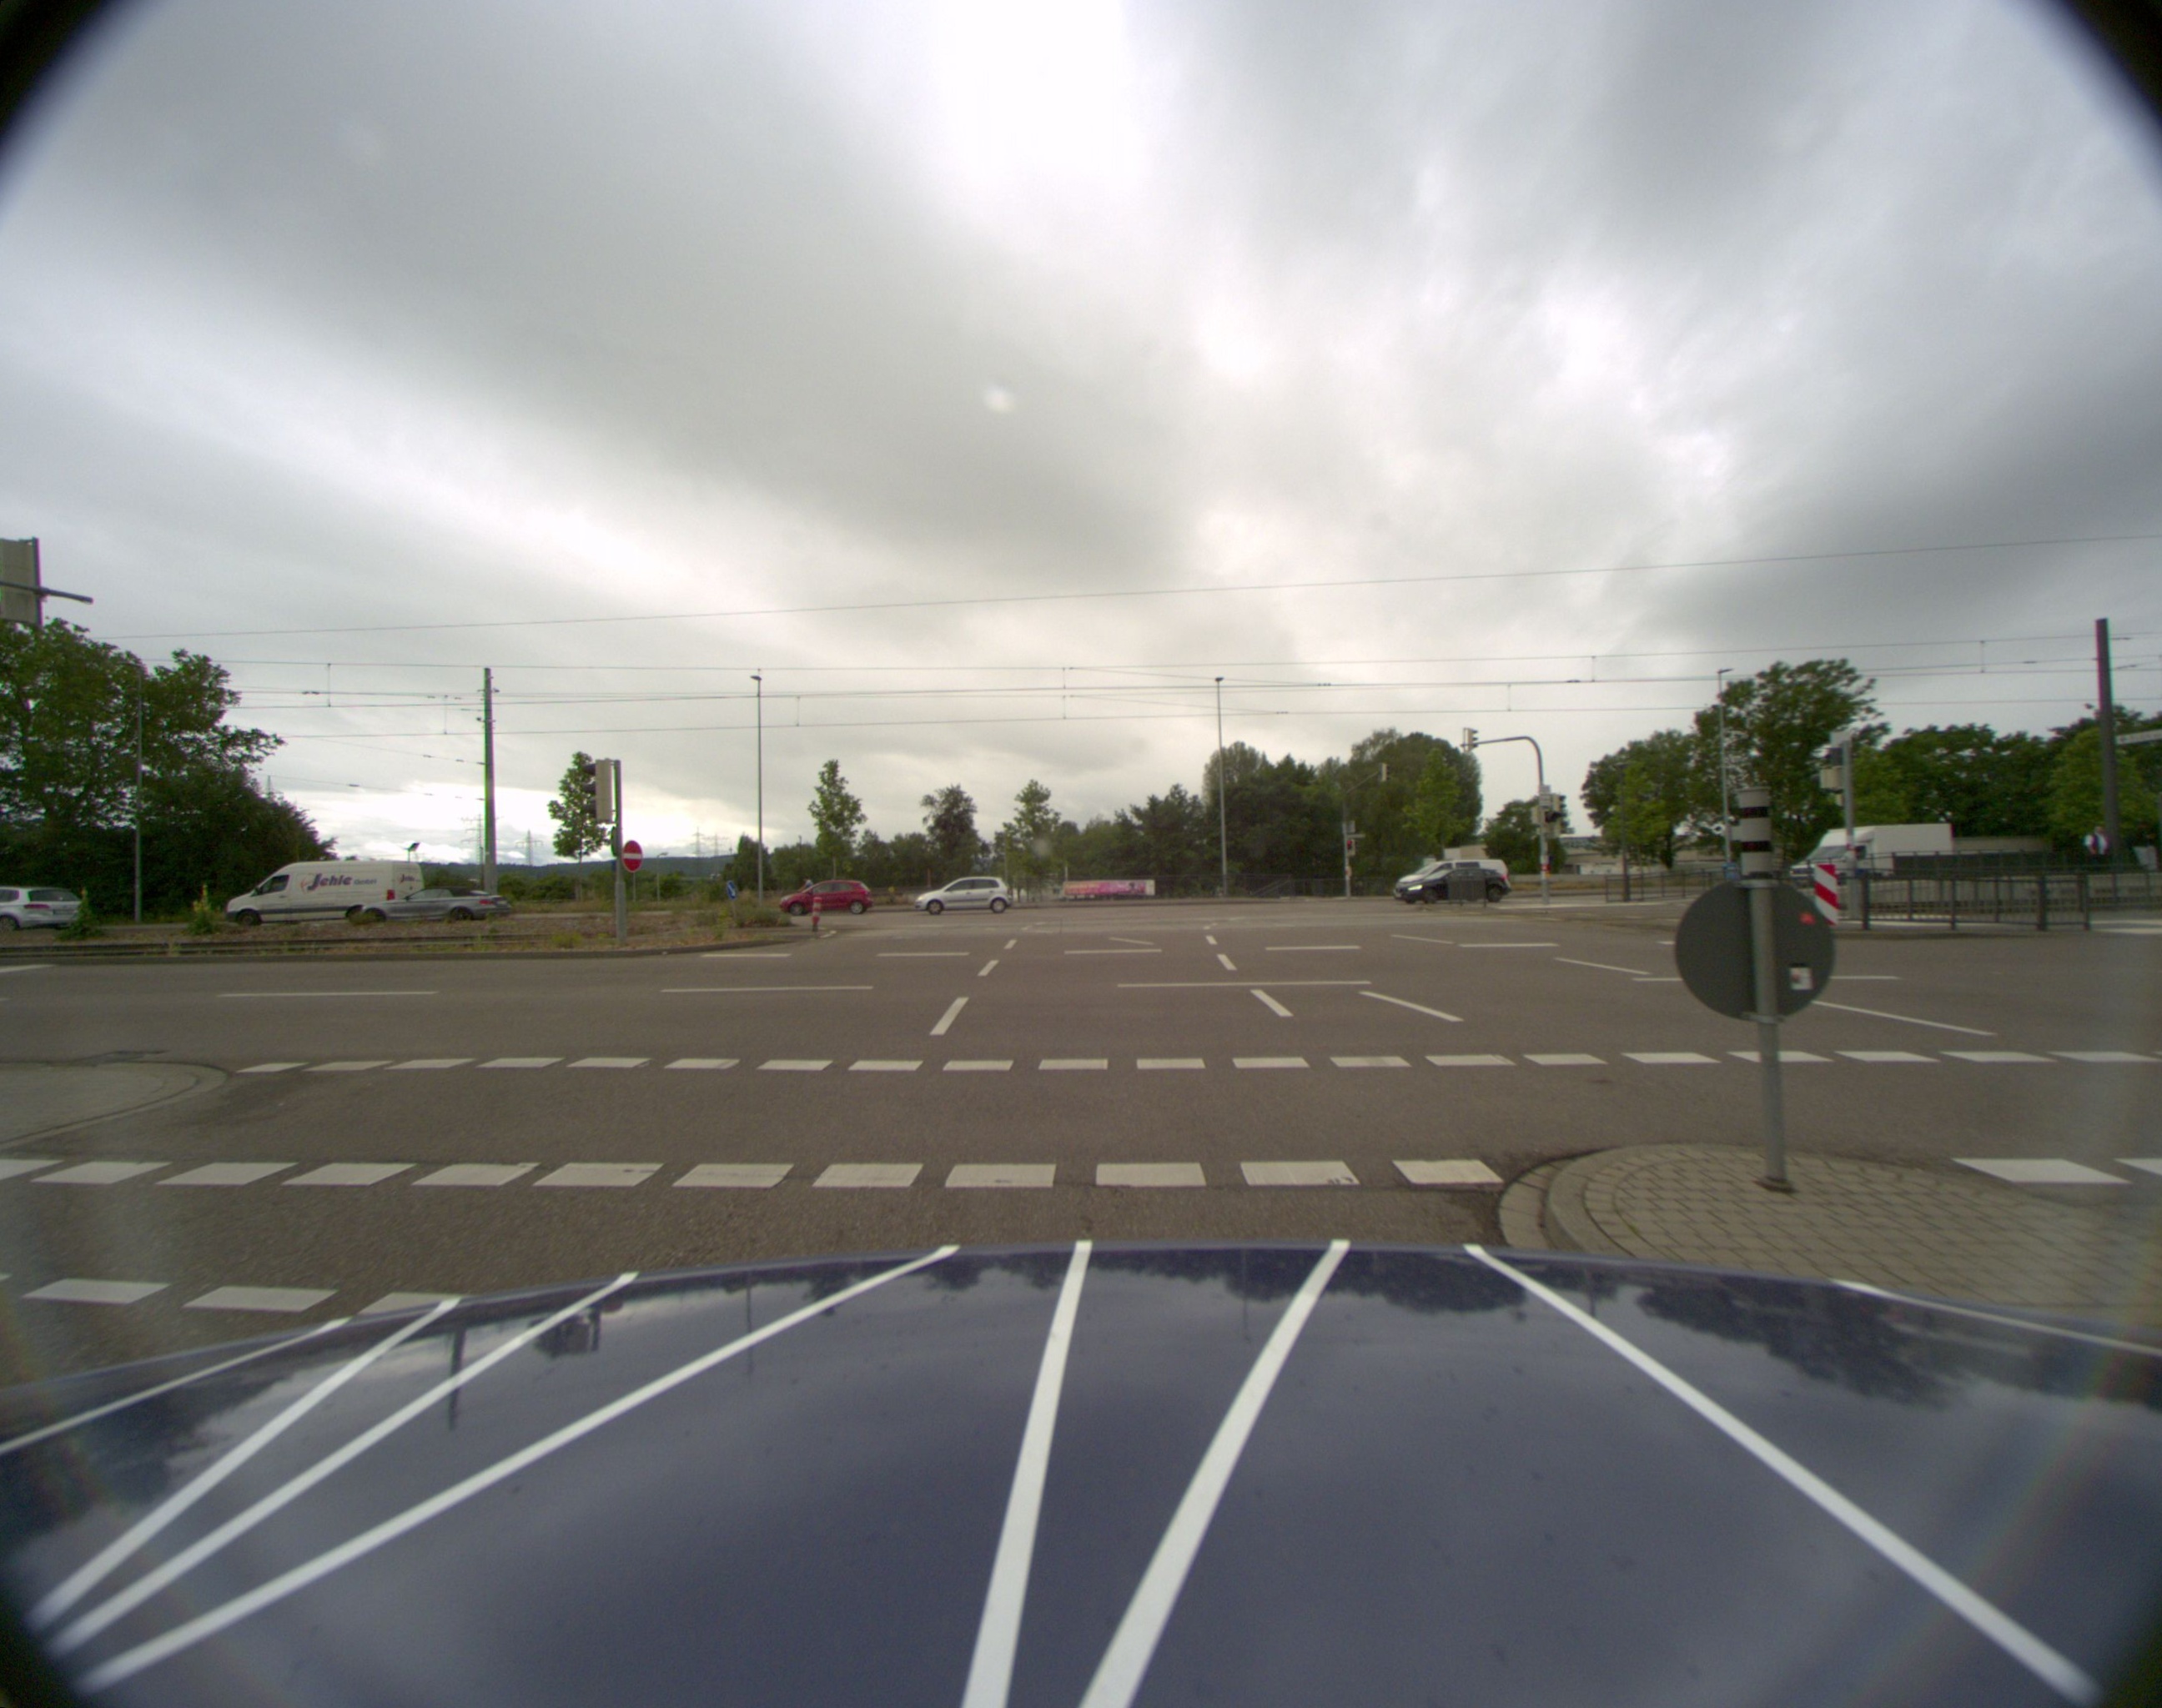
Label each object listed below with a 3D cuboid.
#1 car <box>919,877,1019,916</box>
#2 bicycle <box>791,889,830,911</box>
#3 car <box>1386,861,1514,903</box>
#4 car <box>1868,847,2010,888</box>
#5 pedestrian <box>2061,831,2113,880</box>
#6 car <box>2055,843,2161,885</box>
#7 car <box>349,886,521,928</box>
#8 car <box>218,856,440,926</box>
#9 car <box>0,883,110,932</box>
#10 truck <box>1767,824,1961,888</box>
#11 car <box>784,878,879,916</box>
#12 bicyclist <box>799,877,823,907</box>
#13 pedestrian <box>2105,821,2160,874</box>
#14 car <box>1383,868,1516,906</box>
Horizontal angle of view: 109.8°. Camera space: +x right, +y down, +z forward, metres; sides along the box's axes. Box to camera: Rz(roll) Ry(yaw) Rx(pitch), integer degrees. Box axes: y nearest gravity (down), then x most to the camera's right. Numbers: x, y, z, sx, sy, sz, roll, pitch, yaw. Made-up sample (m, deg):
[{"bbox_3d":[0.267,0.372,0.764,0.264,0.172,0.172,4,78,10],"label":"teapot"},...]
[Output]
[{"bbox_3d":[-4.523,1.701,30.585,3.850,1.410,1.682,-1,-3,-10],"label":"car"},{"bbox_3d":[-13.322,2.251,37.434,1.709,1.039,0.548,0,1,-8],"label":"bicycle"},{"bbox_3d":[17.747,1.357,36.717,5.116,1.868,2.102,-1,-3,0],"label":"car"},{"bbox_3d":[38.331,0.626,34.008,4.246,1.641,1.785,-1,-3,0],"label":"car"},{"bbox_3d":[33.062,0.045,24.975,0.632,1.550,0.711,-2,-2,2],"label":"pedestrian"},{"bbox_3d":[38.652,0.321,27.564,4.369,1.400,1.678,-2,-3,0],"label":"car"},{"bbox_3d":[-23.104,1.877,27.359,4.344,1.382,1.876,-1,-3,-11],"label":"car"},{"bbox_3d":[-30.287,1.480,30.900,5.900,2.609,2.664,-1,-3,-11],"label":"car"},{"bbox_3d":[-35.223,1.767,24.768,4.201,1.542,1.860,-1,-2,-10],"label":"car"},{"bbox_3d":[38.244,0.153,37.287,6.540,2.905,2.829,-1,-3,-1],"label":"truck"},{"bbox_3d":[-10.954,1.894,33.603,3.772,1.551,1.655,-1,-3,-11],"label":"car"},{"bbox_3d":[-13.263,1.865,37.331,0.968,1.445,0.692,0,1,-8],"label":"bicyclist"},{"bbox_3d":[35.166,-0.209,25.430,0.586,1.730,0.789,-2,-2,3],"label":"pedestrian"},{"bbox_3d":[14.783,1.343,30.645,4.340,1.382,2.001,-1,-3,2],"label":"car"}]
